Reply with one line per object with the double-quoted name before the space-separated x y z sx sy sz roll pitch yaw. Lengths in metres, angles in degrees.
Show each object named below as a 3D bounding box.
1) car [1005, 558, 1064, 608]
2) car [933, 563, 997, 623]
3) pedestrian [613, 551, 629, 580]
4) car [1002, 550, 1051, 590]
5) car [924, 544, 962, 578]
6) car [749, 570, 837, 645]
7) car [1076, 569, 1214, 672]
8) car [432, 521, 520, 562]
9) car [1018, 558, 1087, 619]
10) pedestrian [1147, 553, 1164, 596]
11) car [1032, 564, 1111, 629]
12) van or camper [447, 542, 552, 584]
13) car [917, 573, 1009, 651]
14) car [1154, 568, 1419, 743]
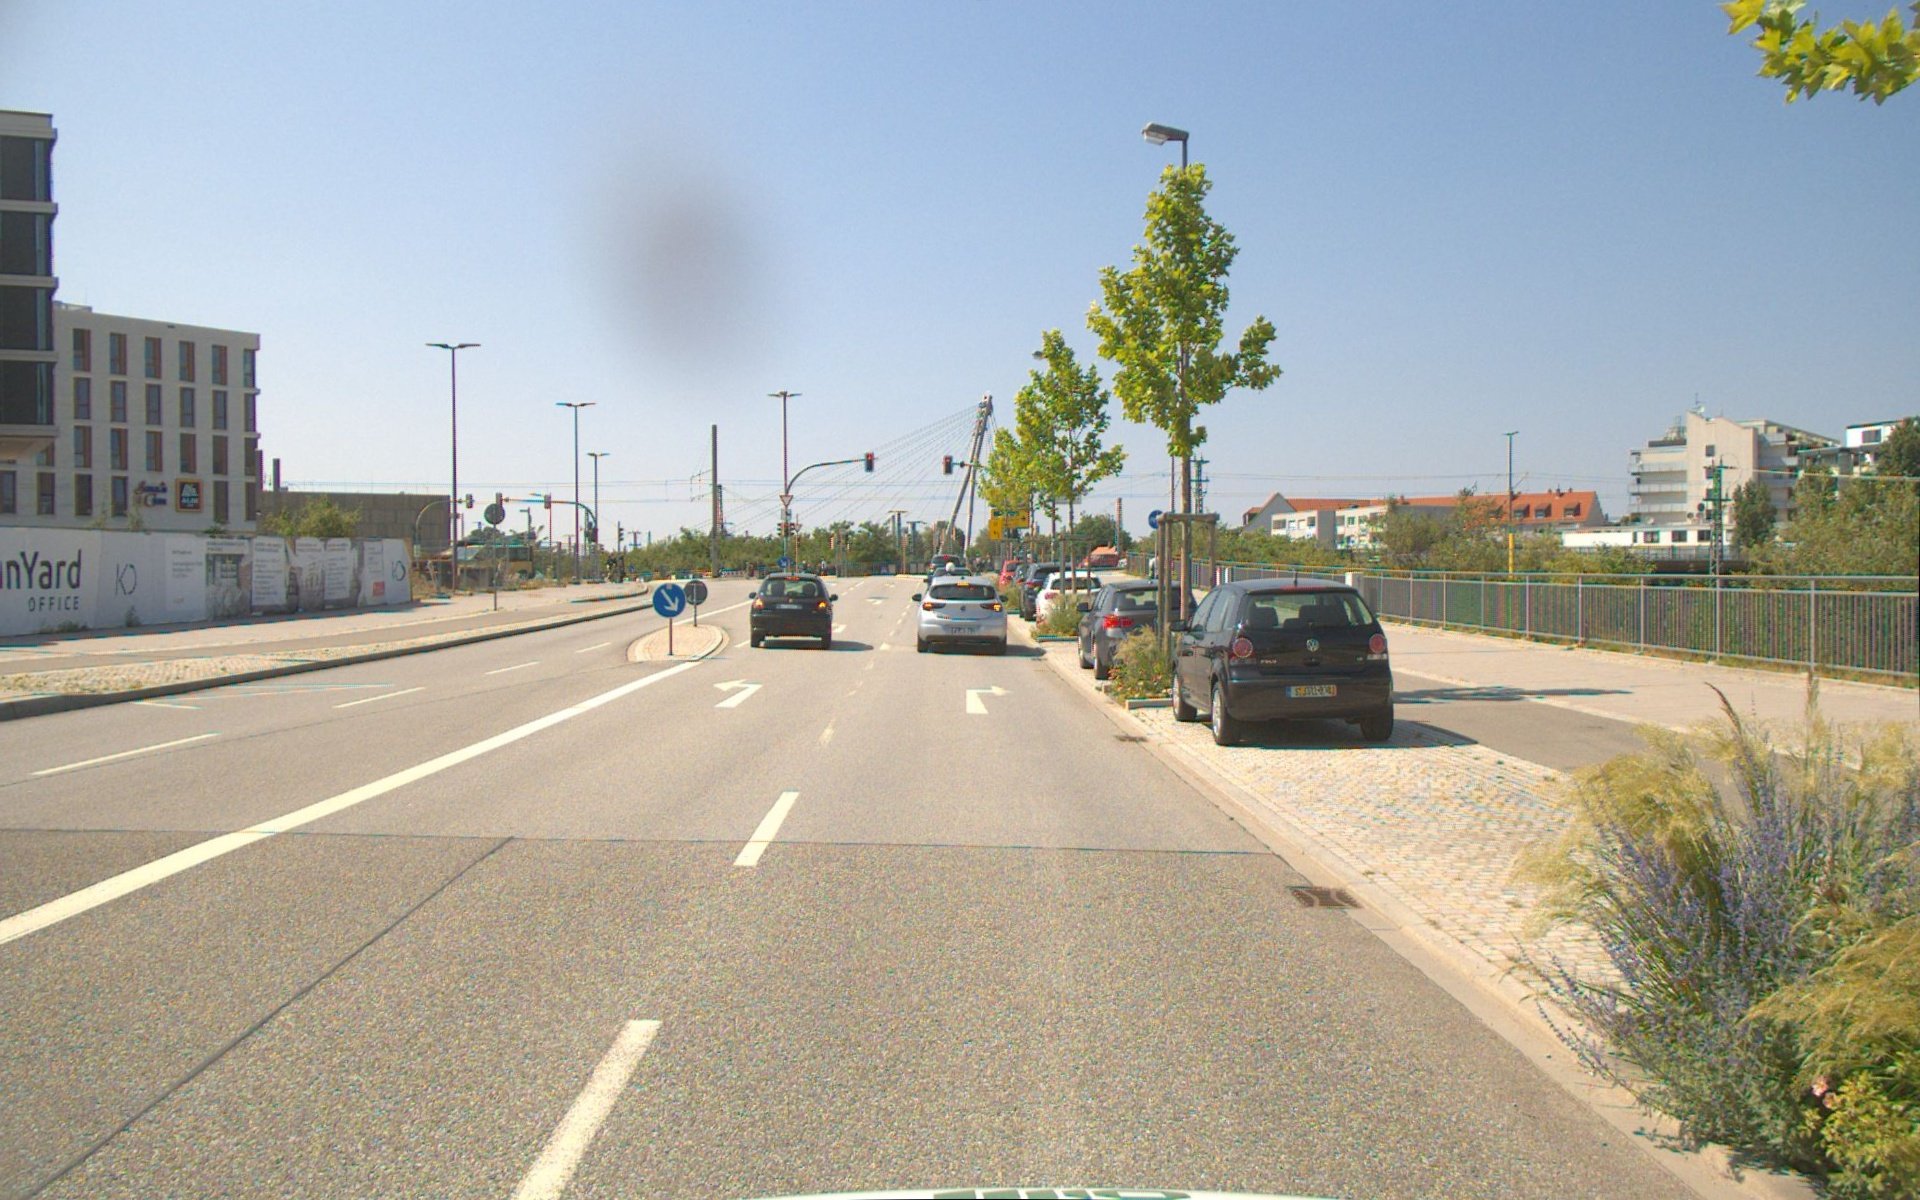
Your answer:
"car" 2.545 -0.611 57.619 1.742 1.529 4.000 -4 1 -1
"car" 0.113 -0.236 46.849 1.742 1.596 4.000 0 2 -1
"pedestrian" -19.207 -1.956 93.712 0.828 1.675 0.827 0 1 -6
"car" 2.630 -1.194 66.342 1.742 1.530 4.000 -1 1 -1
"car" -0.817 -1.900 79.388 1.742 1.596 4.000 0 2 -1
"car" -3.349 0.123 33.655 1.587 1.441 3.725 0 1 -3
"car" 2.807 0.290 25.899 1.669 1.426 4.270 -2 0 0
"car" -25.012 -2.998 85.576 1.962 2.048 3.982 1 1 38
"car" 2.643 -0.374 48.004 1.785 1.644 3.612 -2 2 0
"pedestrian" 7.358 -0.946 62.240 0.522 1.603 0.524 1 -1 -1
"car" 2.743 -0.129 41.347 1.662 1.501 4.205 -1 1 0
"van or camper" -22.882 -1.814 82.286 1.964 1.930 4.689 1 -1 42
"car" 0.037 0.202 33.207 1.742 1.467 4.000 0 1 -1
"car" 3.111 0.496 16.534 1.670 1.488 3.952 -2 0 -3
